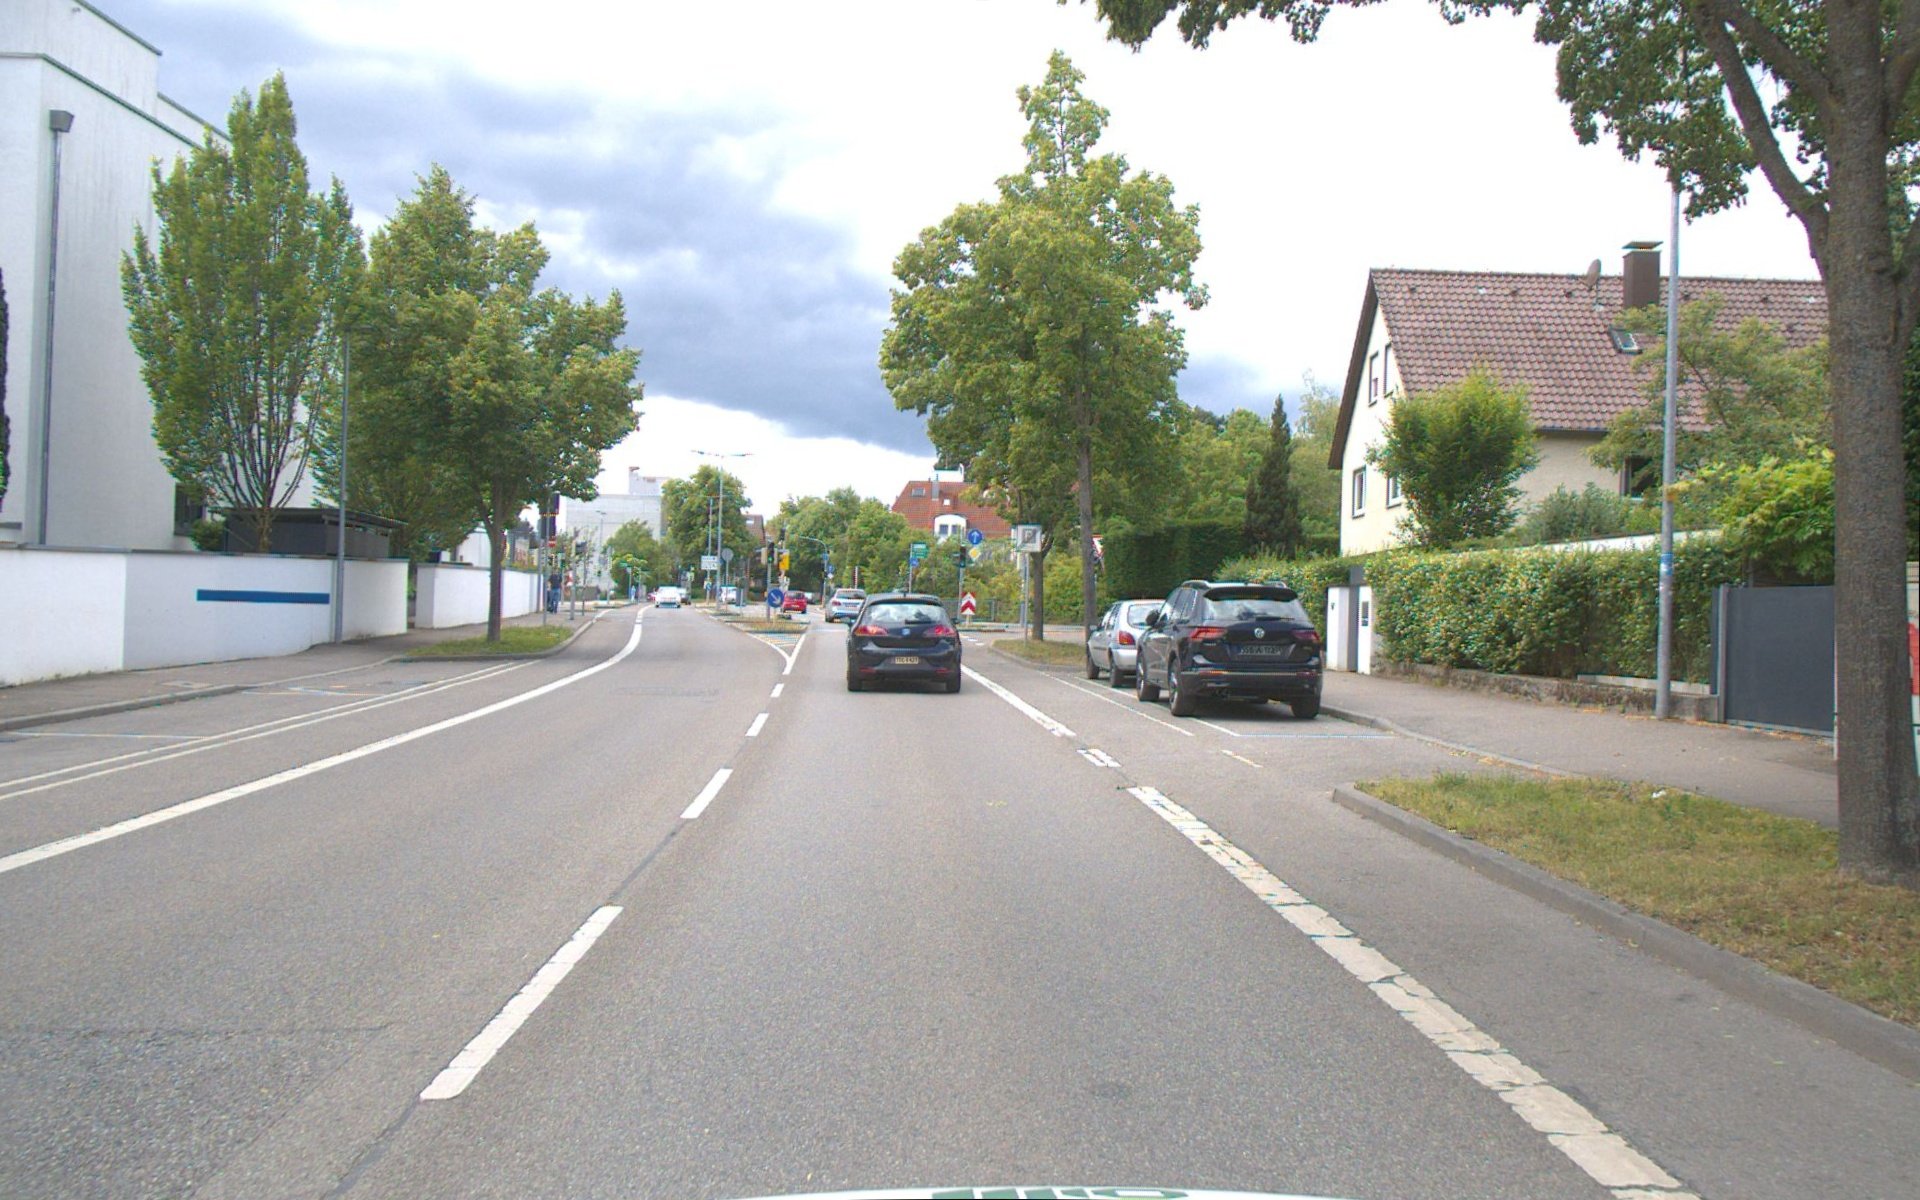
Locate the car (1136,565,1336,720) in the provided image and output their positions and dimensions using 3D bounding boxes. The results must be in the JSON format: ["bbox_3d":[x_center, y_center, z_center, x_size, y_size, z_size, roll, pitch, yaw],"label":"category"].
[{"bbox_3d":[3.466,0.498,21.488,1.753,1.803,3.980,1,0,-3],"label":"car"}]

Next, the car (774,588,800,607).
[{"bbox_3d":[-15.187,-0.225,145.524,1.953,1.534,3.998,2,-1,-2],"label":"car"}]

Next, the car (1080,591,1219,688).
[{"bbox_3d":[3.064,0.615,27.384,1.652,1.474,3.576,1,0,-4],"label":"car"}]

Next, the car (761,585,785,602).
[{"bbox_3d":[-18.842,-0.652,166.878,1.933,1.705,3.876,1,0,-1],"label":"car"}]

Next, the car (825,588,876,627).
[{"bbox_3d":[-4.816,0.319,72.197,1.956,1.585,3.994,-3,0,-7],"label":"car"}]

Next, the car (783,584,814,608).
[{"bbox_3d":[-10.900,-0.289,111.522,1.956,1.557,3.994,1,0,-7],"label":"car"}]

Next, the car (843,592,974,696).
[{"bbox_3d":[-0.862,0.640,25.576,1.749,1.474,3.553,1,0,-6],"label":"car"}]

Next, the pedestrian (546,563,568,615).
[{"bbox_3d":[-16.394,-0.439,67.252,0.738,2.090,0.724,2,-1,-7],"label":"pedestrian"}]
